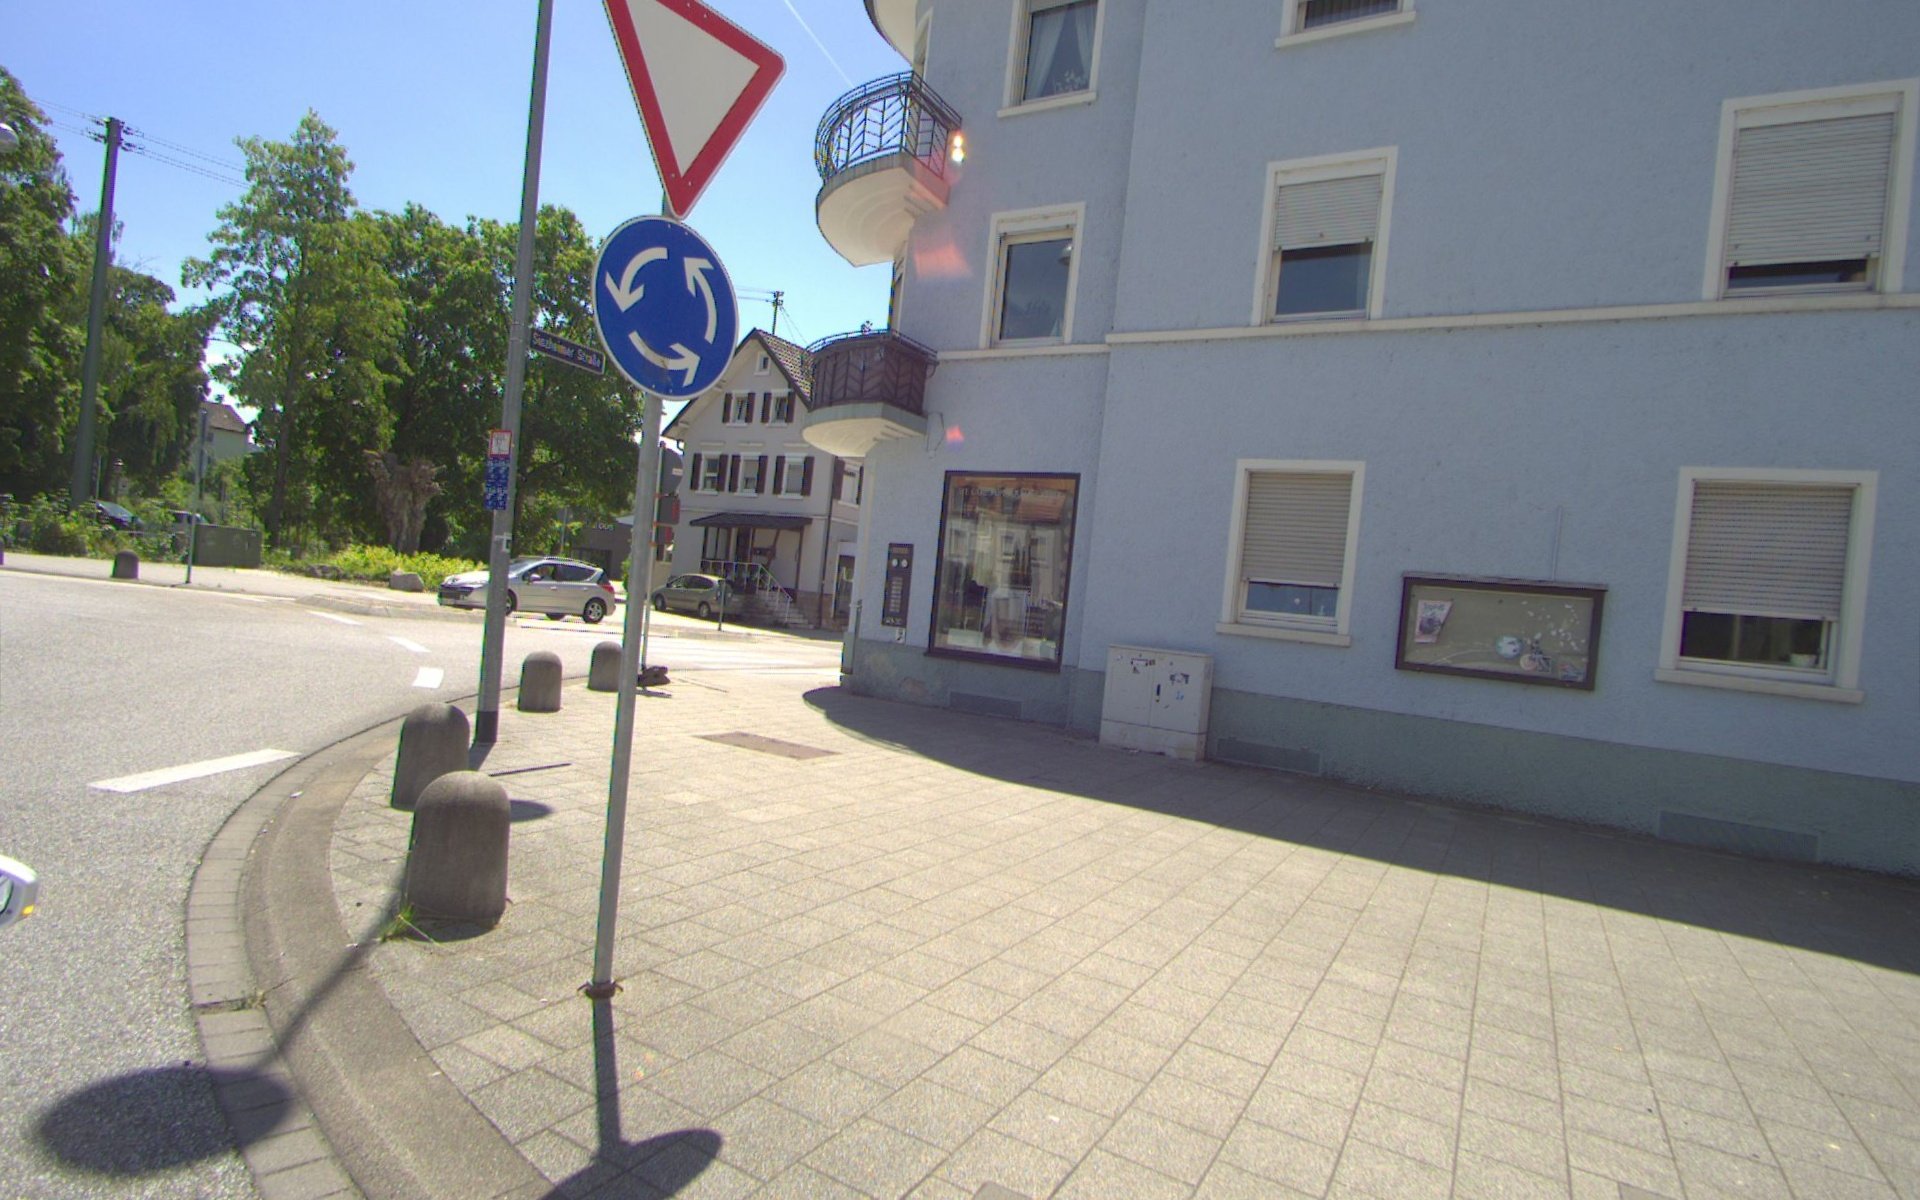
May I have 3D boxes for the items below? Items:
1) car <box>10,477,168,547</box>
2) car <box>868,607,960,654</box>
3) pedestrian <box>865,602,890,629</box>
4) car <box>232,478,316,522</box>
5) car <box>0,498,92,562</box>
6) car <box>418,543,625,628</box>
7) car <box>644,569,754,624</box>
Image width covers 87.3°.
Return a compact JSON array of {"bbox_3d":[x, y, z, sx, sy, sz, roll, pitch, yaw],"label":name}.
[{"bbox_3d":[-33.168,-3.310,38.424,3.933,2.039,1.996,7,0,-10],"label":"car"},{"bbox_3d":[-1.672,1.153,37.508,1.524,1.430,3.711,7,0,30],"label":"car"},{"bbox_3d":[-3.509,0.650,42.703,0.660,1.067,0.698,7,1,28],"label":"pedestrian"},{"bbox_3d":[-41.253,-5.976,60.586,3.961,2.039,1.981,6,1,-34],"label":"car"},{"bbox_3d":[-26.707,-2.045,28.242,1.603,1.572,3.059,7,0,16],"label":"car"},{"bbox_3d":[-10.321,-0.292,23.969,1.717,1.535,4.198,7,0,32],"label":"car"},{"bbox_3d":[-10.054,-0.140,38.641,3.935,1.660,1.753,6,0,33],"label":"car"}]
